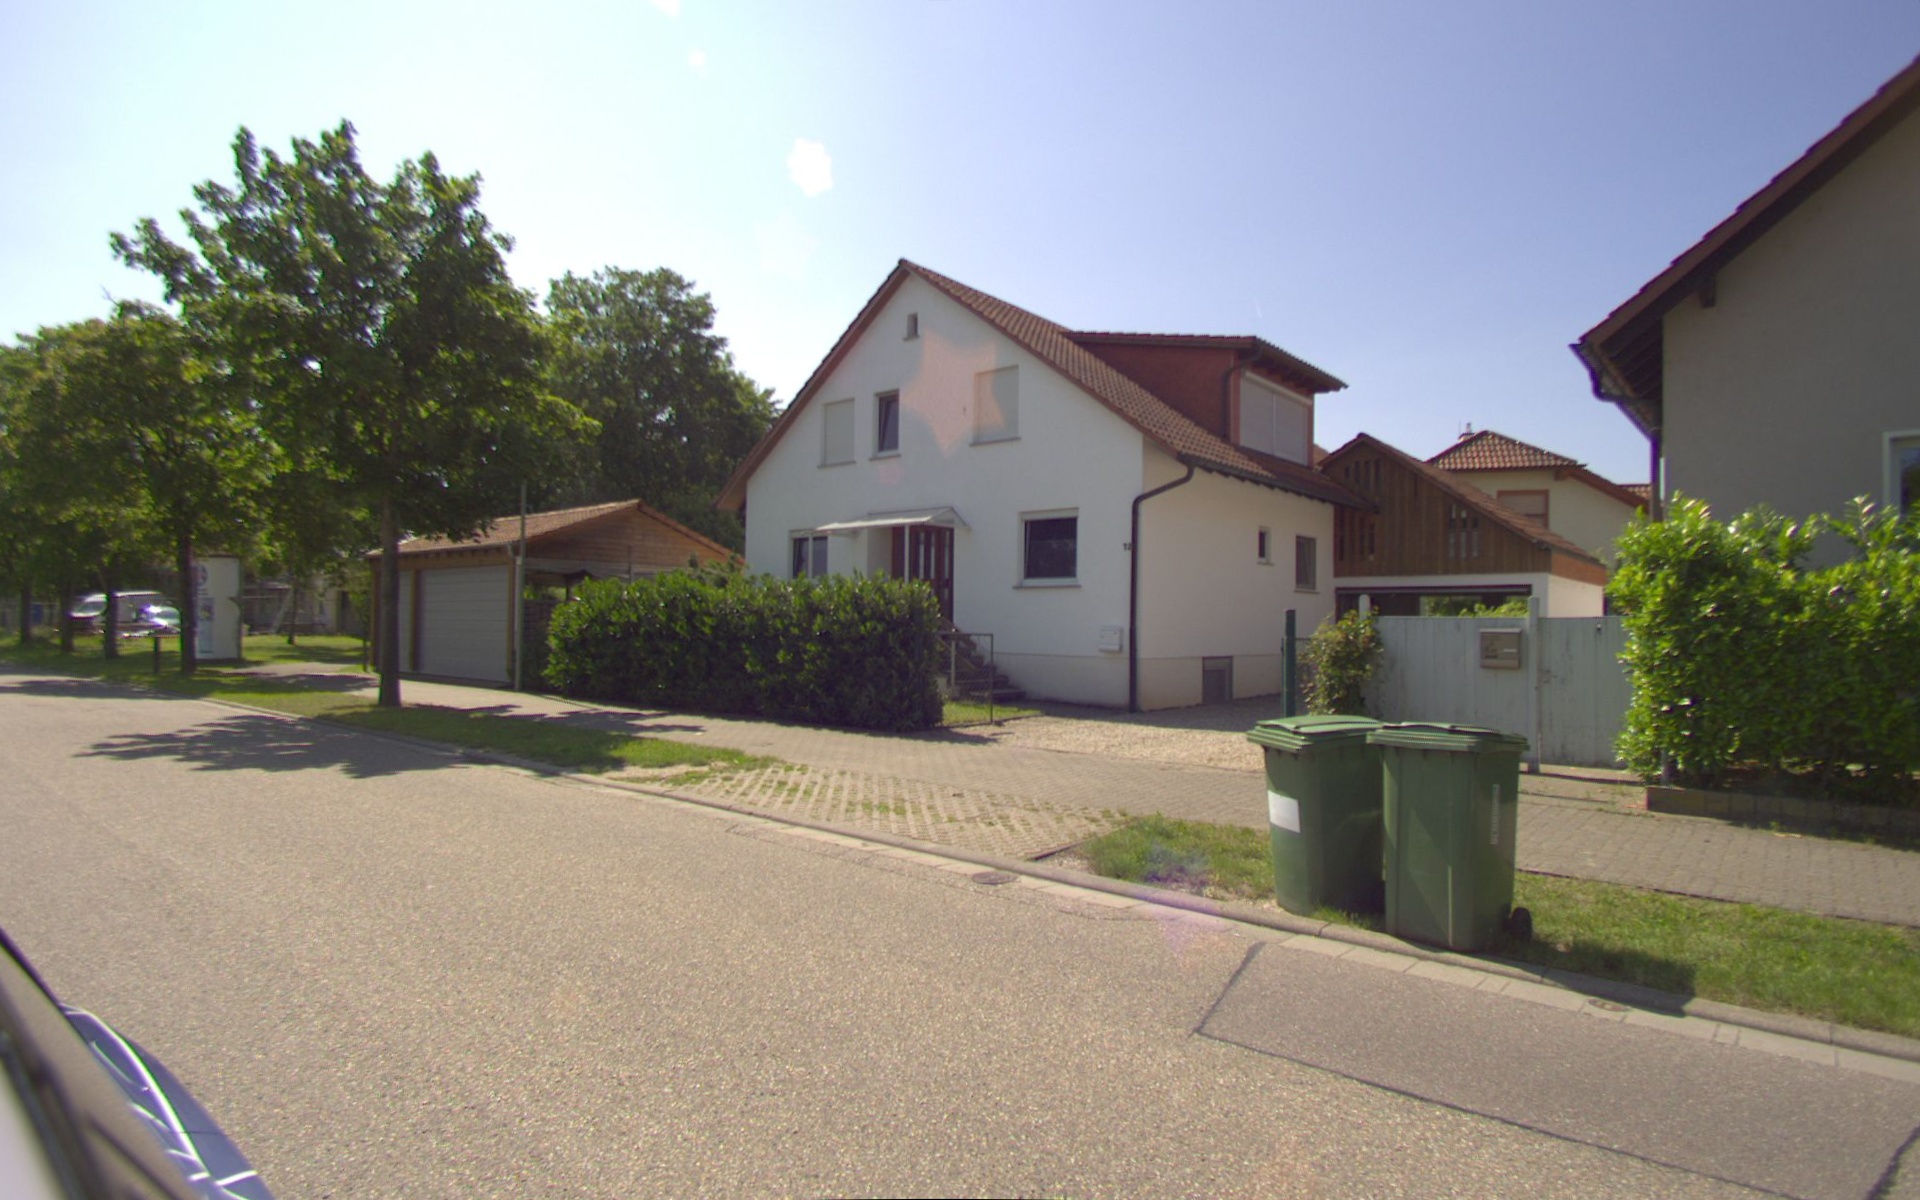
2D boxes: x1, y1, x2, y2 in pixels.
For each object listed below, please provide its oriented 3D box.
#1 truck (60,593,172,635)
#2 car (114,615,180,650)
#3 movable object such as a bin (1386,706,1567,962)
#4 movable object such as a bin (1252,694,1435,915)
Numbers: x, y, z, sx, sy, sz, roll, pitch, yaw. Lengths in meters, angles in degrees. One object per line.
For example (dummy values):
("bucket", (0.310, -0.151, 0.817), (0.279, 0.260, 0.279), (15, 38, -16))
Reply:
("truck", (-52.987, 0.909, 63.743), (1.973, 2.502, 5.928), (0, -1, 2))
("car", (-44.834, 1.749, 55.764), (4.323, 1.852, 1.951), (-1, -1, 39))
("movable object such as a bin", (2.536, 1.098, 4.983), (0.567, 1.087, 0.600), (2, -2, -36))
("movable object such as a bin", (2.111, 1.091, 5.623), (0.703, 1.087, 0.641), (1, -2, -16))
